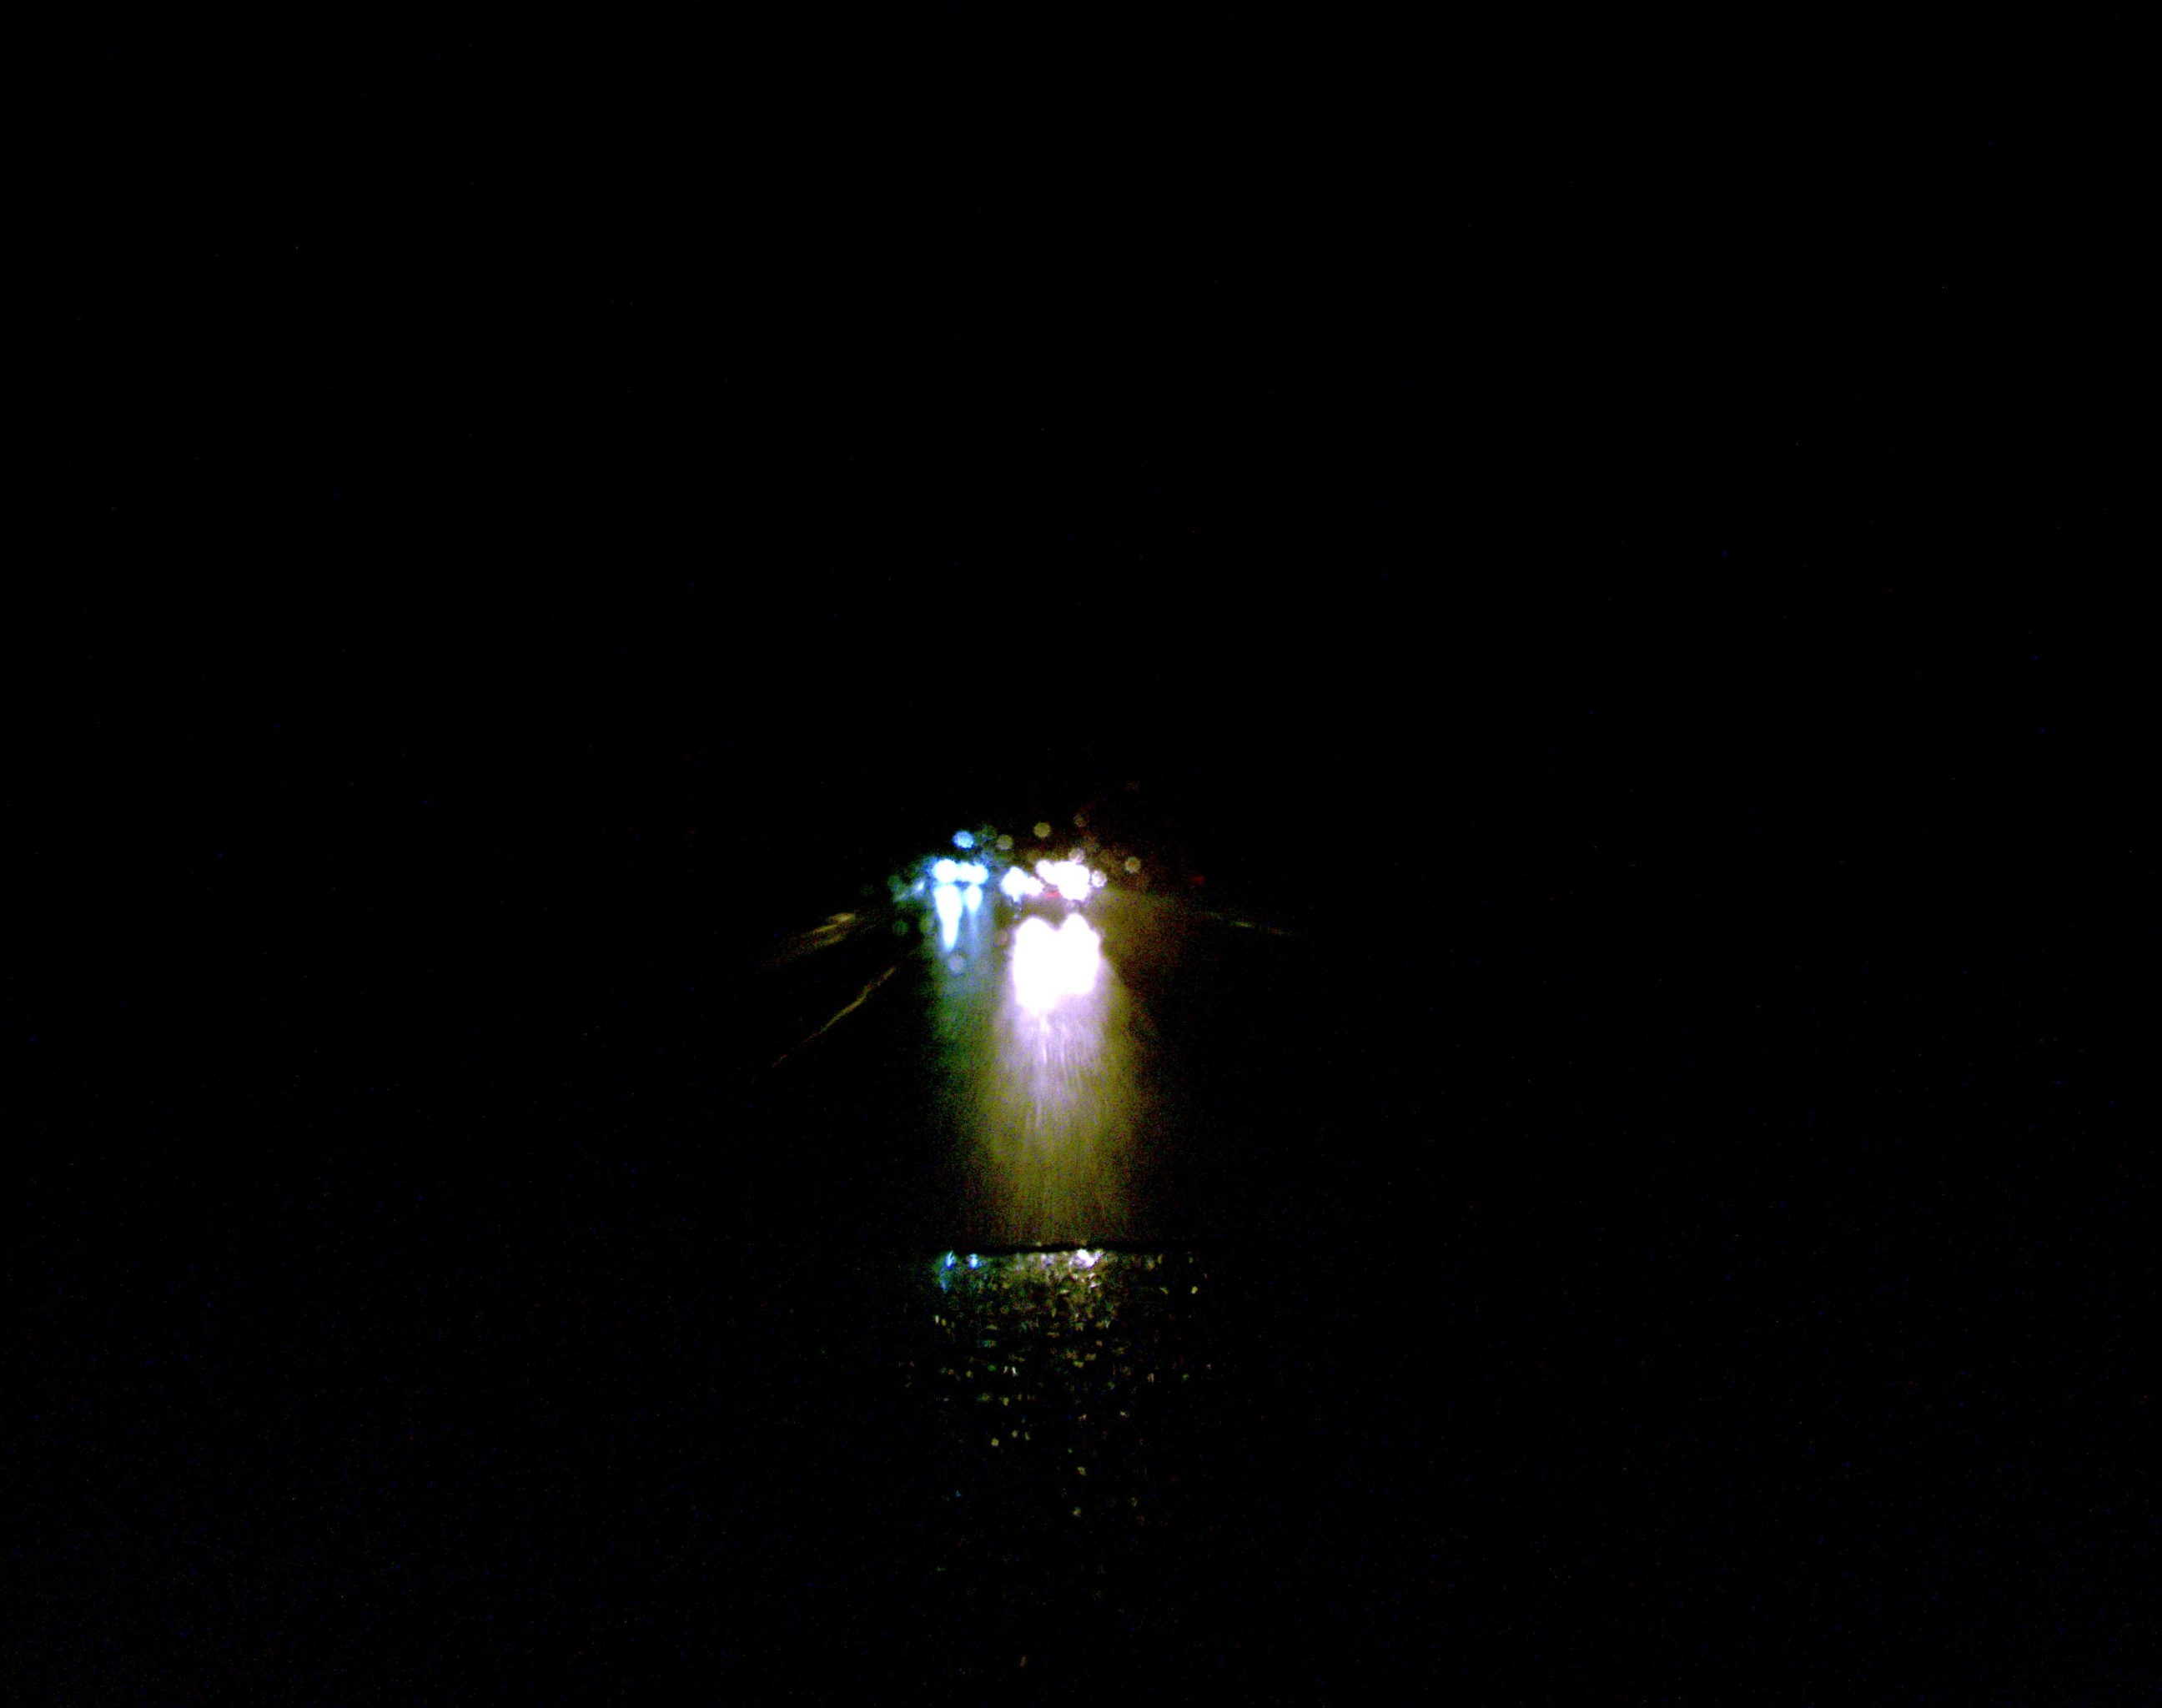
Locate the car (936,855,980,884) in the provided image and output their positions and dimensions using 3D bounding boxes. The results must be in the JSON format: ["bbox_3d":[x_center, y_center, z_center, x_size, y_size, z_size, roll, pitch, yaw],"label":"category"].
[{"bbox_3d":[-6.956,0.824,42.740,1.852,1.441,3.868,-3,1,-18],"label":"car"}]

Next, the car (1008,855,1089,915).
[{"bbox_3d":[-1.038,0.819,22.033,1.850,1.441,3.996,-2,1,-9],"label":"car"}]
